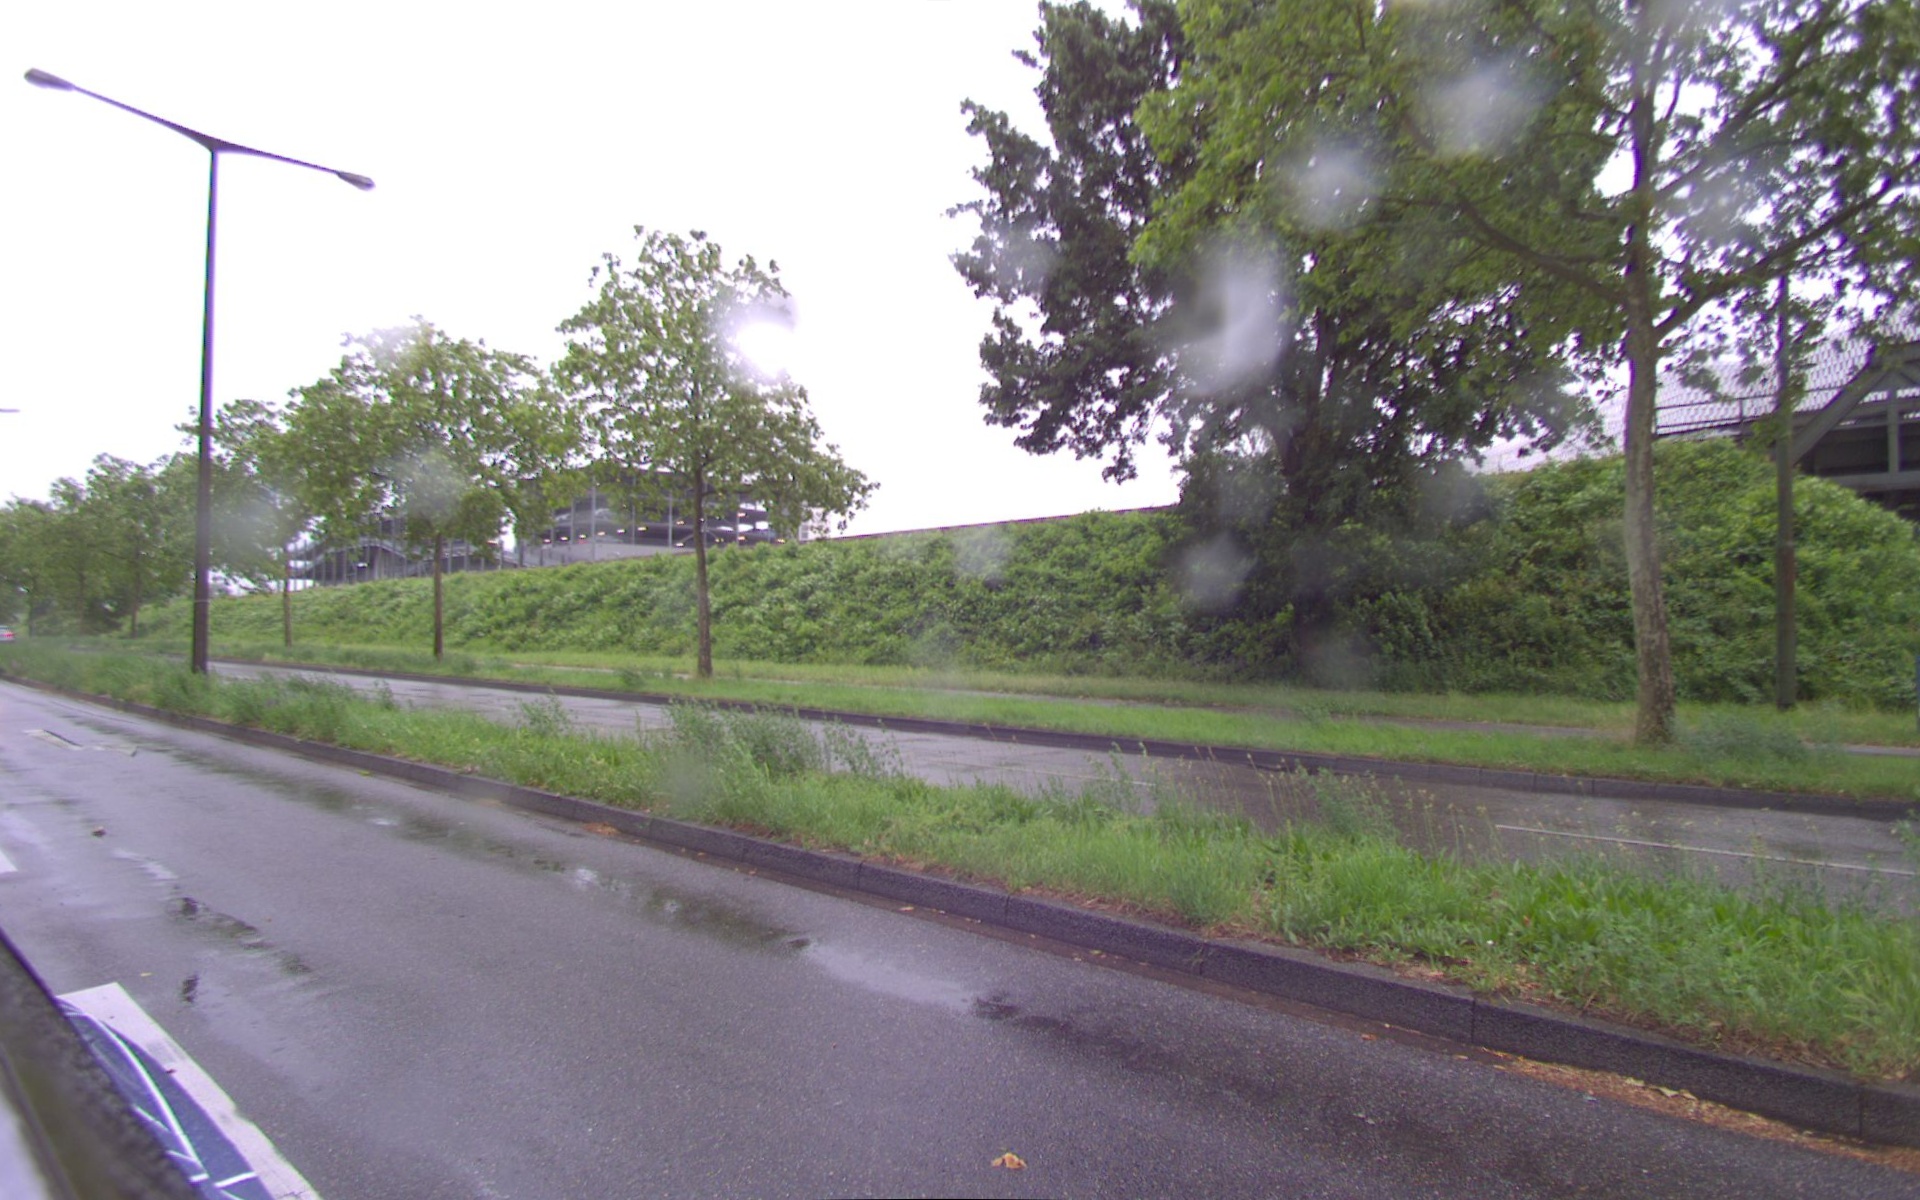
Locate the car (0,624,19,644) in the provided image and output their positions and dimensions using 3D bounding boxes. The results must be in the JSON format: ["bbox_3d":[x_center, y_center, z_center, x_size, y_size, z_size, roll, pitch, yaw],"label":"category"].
[{"bbox_3d":[-70.900,2.504,74.626,4.089,1.476,1.702,-1,-3,40],"label":"car"}]
